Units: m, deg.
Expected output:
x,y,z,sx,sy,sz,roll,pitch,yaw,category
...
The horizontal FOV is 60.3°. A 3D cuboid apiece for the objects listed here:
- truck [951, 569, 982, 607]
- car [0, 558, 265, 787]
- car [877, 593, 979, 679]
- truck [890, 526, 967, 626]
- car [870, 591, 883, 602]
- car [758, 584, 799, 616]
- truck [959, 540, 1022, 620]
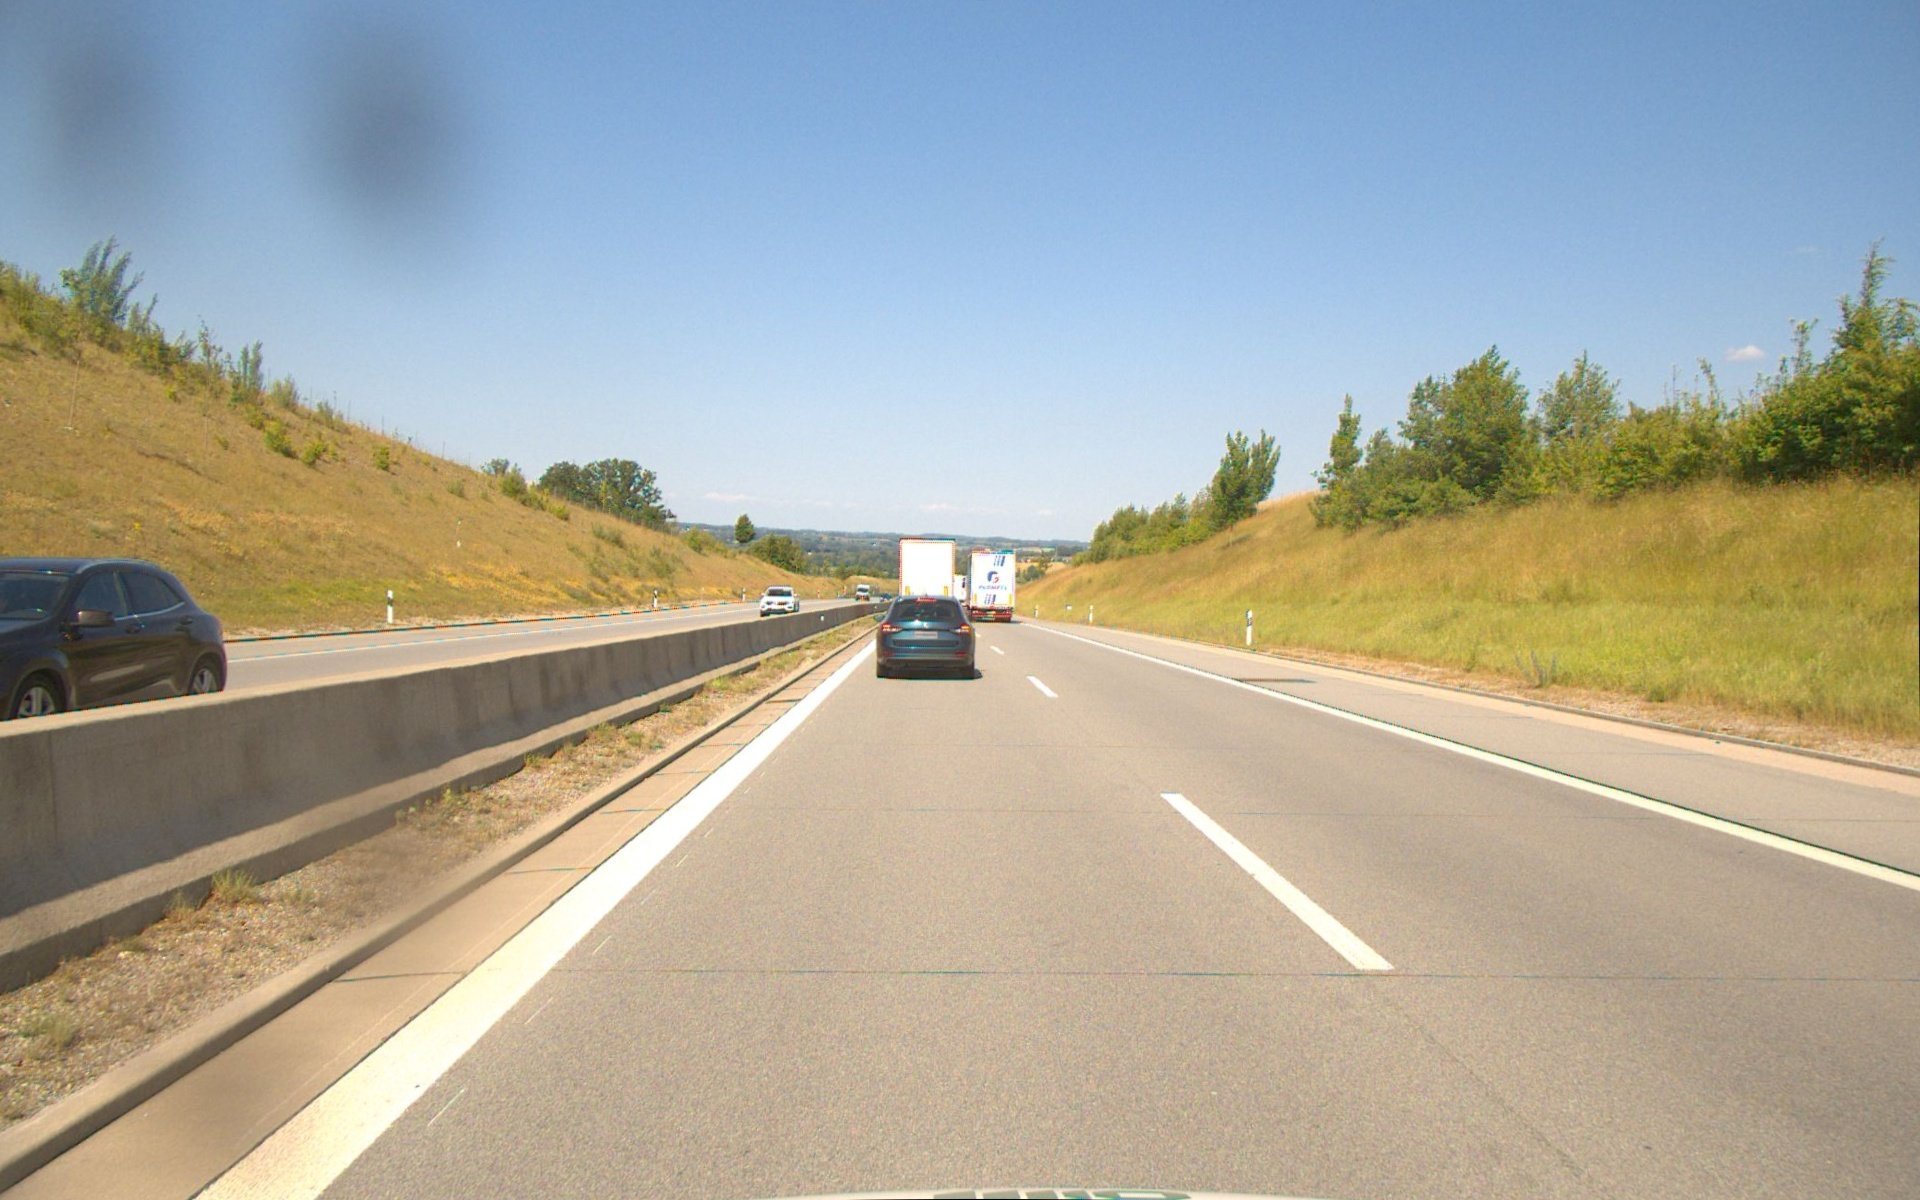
x,y,z,sx,sy,sz,roll,pitch,yaw,category
0.831,-1.444,203.788,3.530,4.458,11.236,1,0,2,truck
-7.176,0.428,12.801,1.816,1.487,4.332,1,0,-2,car
-0.615,0.610,30.237,1.741,1.466,3.787,0,0,-2,car
-1.411,-1.125,80.986,3.144,4.458,11.236,1,0,2,truck
-12.295,-0.495,243.330,1.738,1.474,4.181,2,0,-3,car
-9.410,-0.011,85.792,1.740,1.629,4.038,1,0,-1,car
1.896,-1.175,99.721,3.530,4.458,11.236,1,0,2,truck
